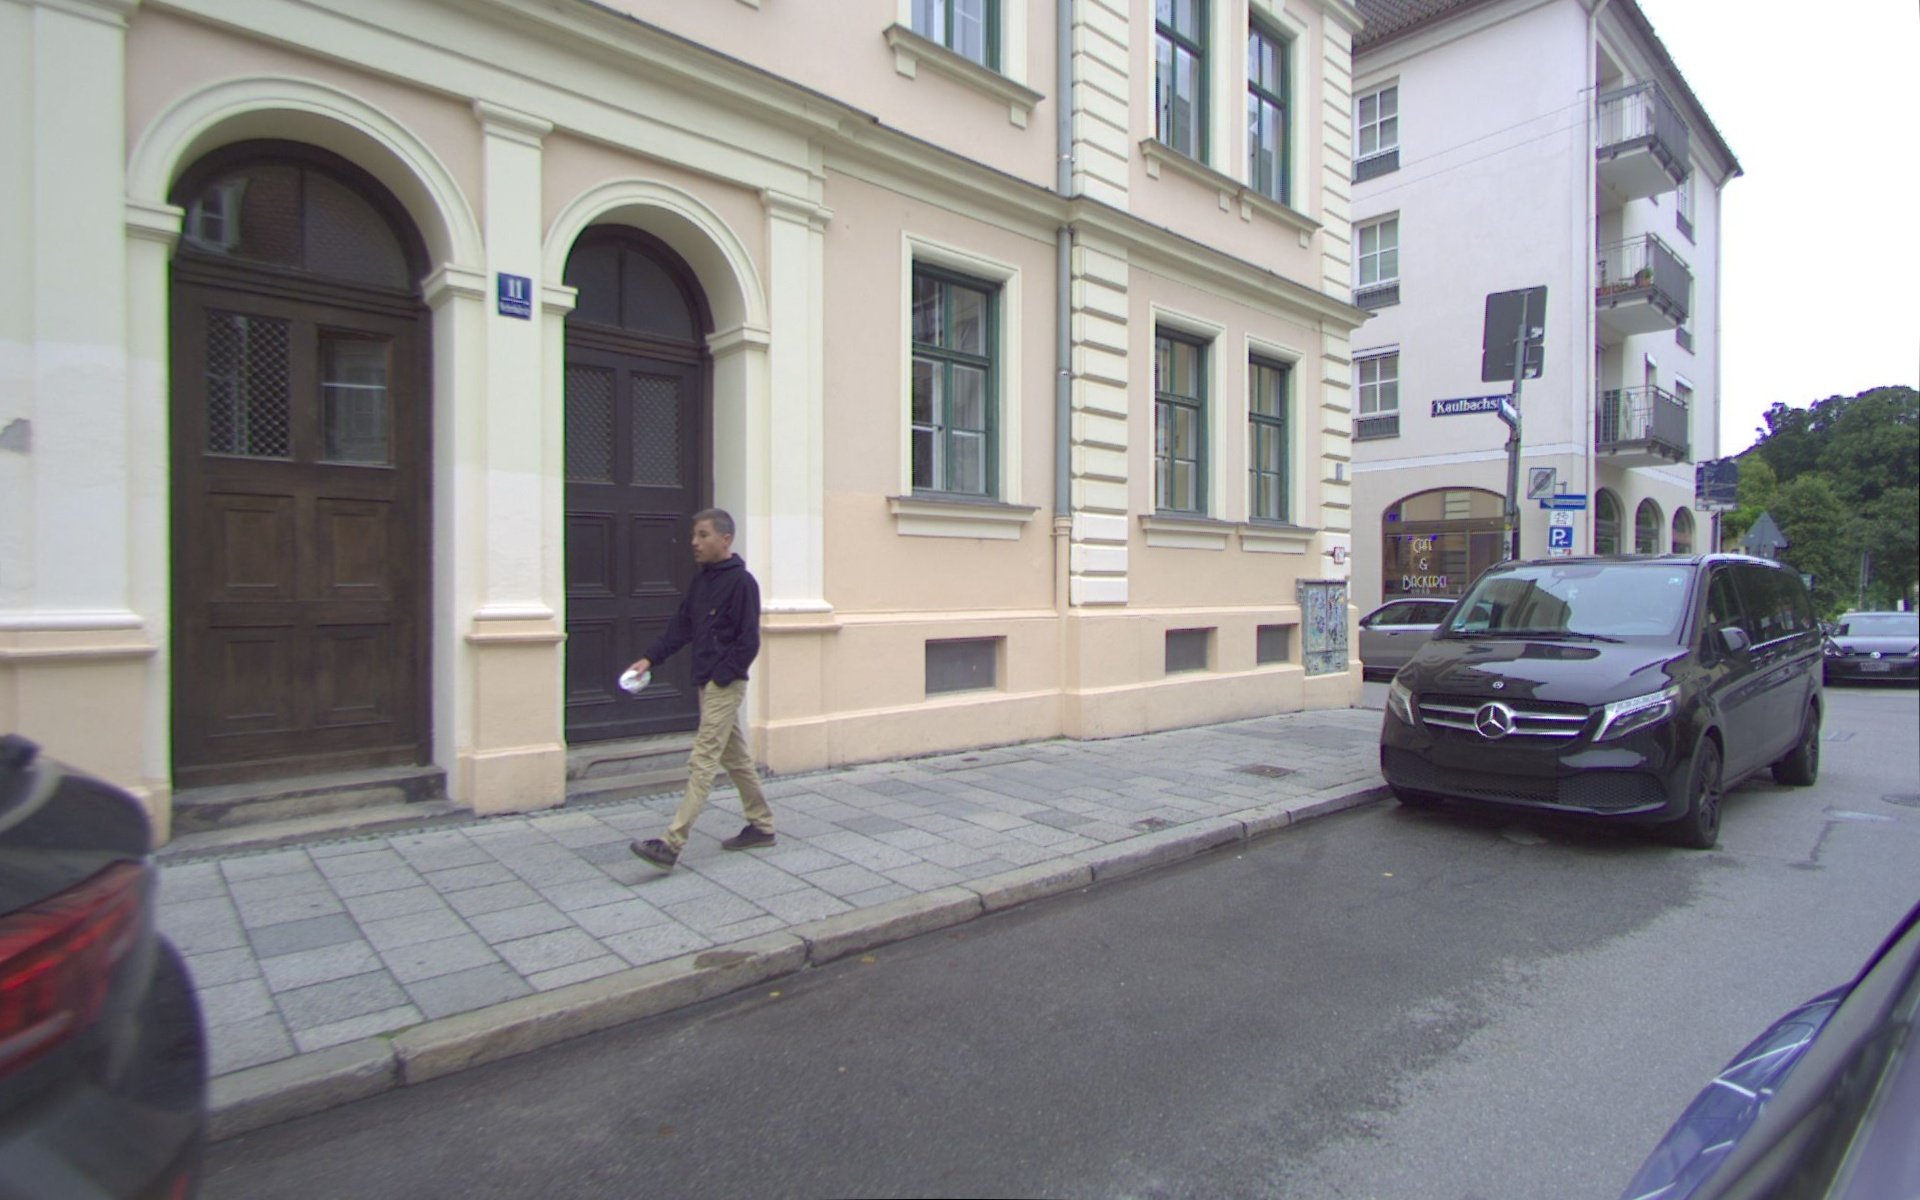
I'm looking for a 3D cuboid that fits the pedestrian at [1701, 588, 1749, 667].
[{"bbox_3d":[16.859,0.586,22.314,0.866,1.682,0.705,-1,2,-44],"label":"pedestrian"}]

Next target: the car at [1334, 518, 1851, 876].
[{"bbox_3d":[5.120,0.511,7.813,5.161,1.888,2.001,0,0,-41],"label":"car"}]

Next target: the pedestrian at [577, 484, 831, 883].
[{"bbox_3d":[-1.252,0.348,5.003,0.987,1.738,0.719,-1,2,-44],"label":"pedestrian"}]

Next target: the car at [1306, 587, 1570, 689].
[{"bbox_3d":[8.805,0.640,18.874,1.725,1.625,4.092,3,-1,-43],"label":"car"}]

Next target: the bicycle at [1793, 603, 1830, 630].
[{"bbox_3d":[42.502,0.830,50.523,1.623,1.213,0.169,3,0,-1],"label":"bicycle"}]

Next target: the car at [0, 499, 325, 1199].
[{"bbox_3d":[-2.876,0.672,0.422,4.201,1.540,1.757,0,1,-42],"label":"car"}]

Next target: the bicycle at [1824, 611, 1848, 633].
[{"bbox_3d":[44.329,1.104,51.208,1.620,1.051,0.308,3,0,-28],"label":"bicycle"}]

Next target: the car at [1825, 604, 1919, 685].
[{"bbox_3d":[18.331,0.831,19.876,4.135,1.443,1.676,1,-2,-45],"label":"car"}]

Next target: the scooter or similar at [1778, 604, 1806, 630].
[{"bbox_3d":[40.835,0.829,49.674,0.317,1.228,1.119,2,0,-5],"label":"scooter or similar"}]

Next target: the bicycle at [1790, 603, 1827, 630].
[{"bbox_3d":[42.511,0.827,50.721,1.623,1.206,0.202,3,0,-1],"label":"bicycle"}]

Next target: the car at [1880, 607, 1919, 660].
[{"bbox_3d":[27.771,0.936,28.900,4.577,1.429,1.805,1,-1,-43],"label":"car"}]
